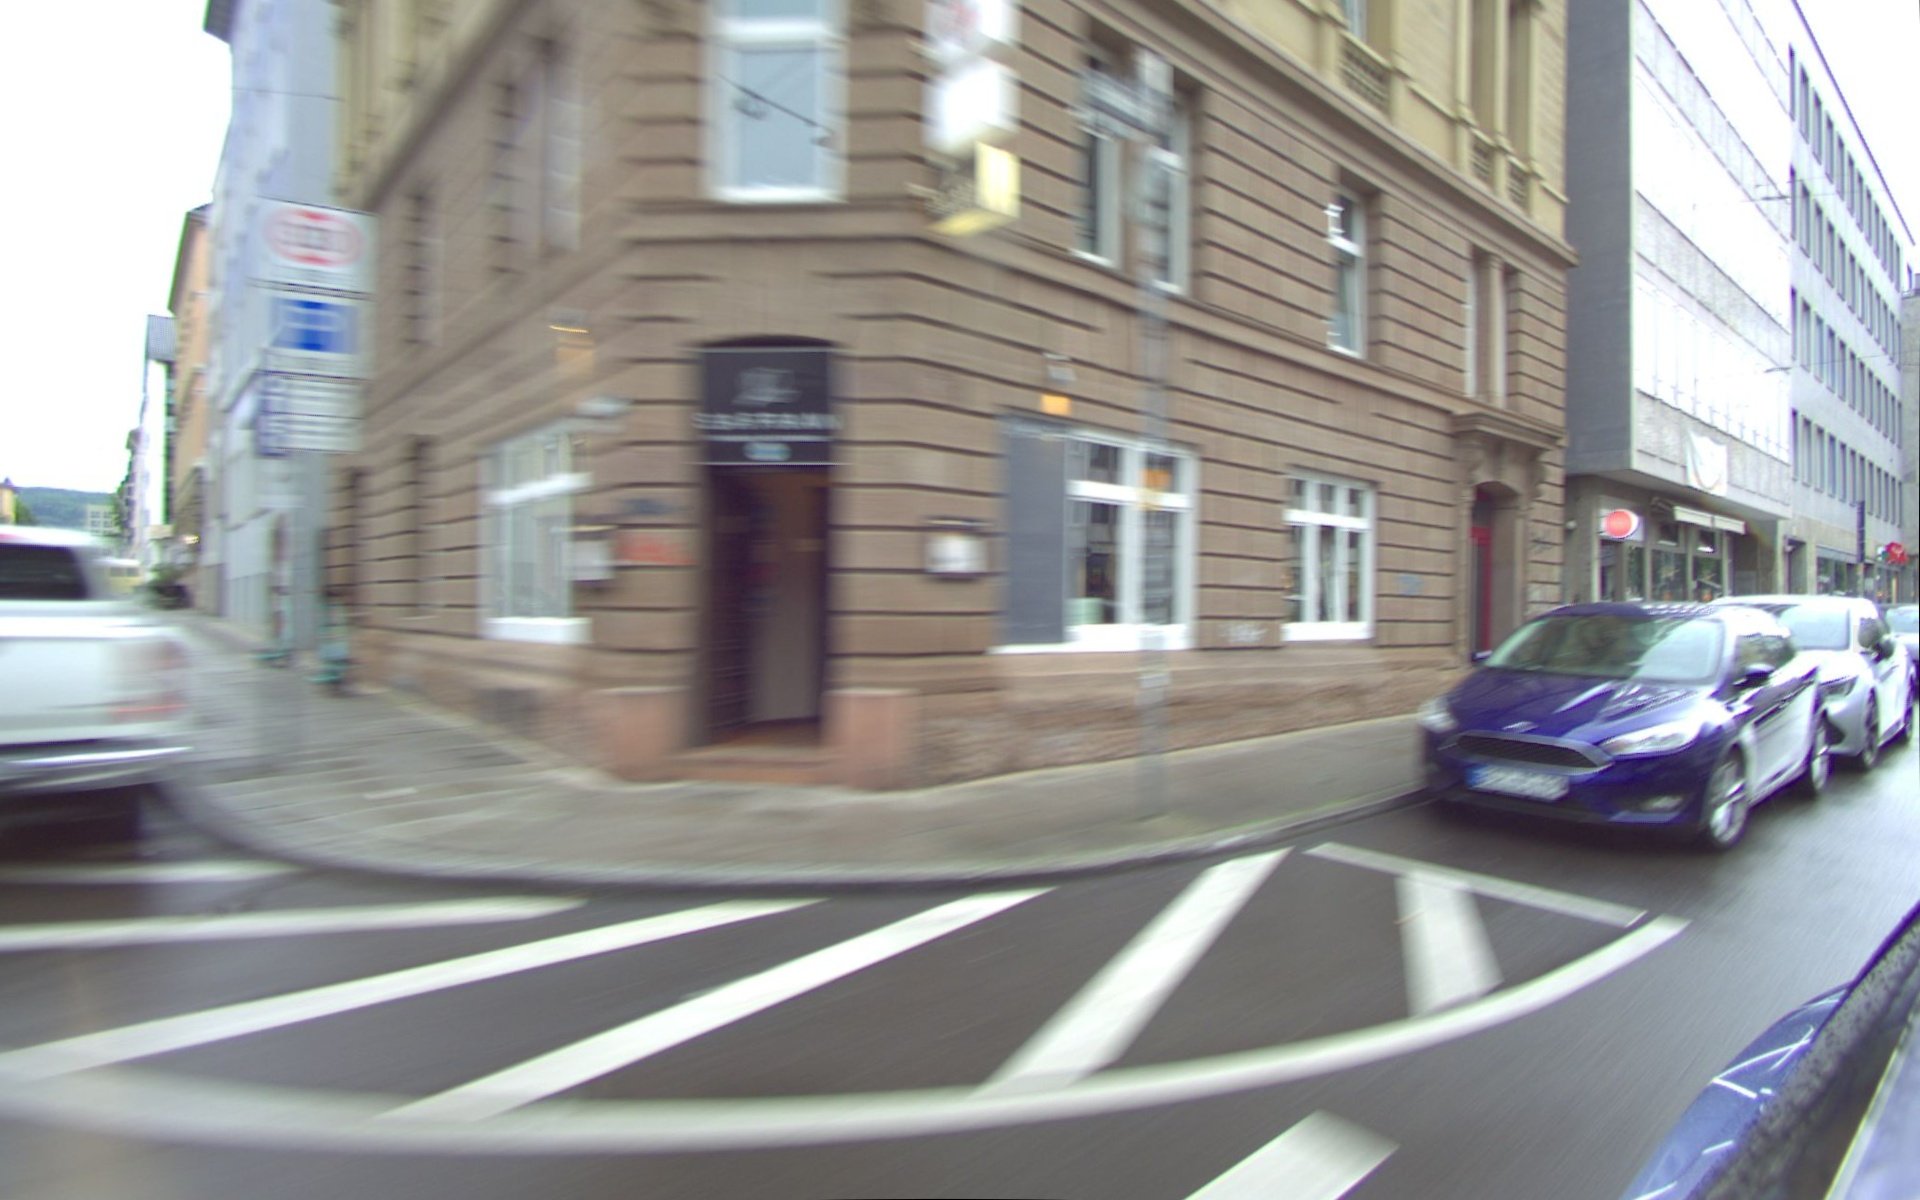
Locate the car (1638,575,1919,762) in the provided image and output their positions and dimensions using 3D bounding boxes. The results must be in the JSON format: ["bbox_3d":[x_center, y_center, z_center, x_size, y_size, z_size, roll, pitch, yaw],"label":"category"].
[{"bbox_3d":[8.665,0.585,10.442,4.279,1.542,1.749,1,-1,-42],"label":"car"}]

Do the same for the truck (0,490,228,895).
[{"bbox_3d":[-6.223,0.383,6.326,2.049,1.841,5.064,1,0,-43],"label":"truck"}]

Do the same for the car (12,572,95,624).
[{"bbox_3d":[-27.434,-0.085,30.645,1.756,1.448,4.422,1,0,-42],"label":"car"}]

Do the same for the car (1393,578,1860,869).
[{"bbox_3d":[5.004,0.670,7.363,4.182,1.535,1.724,1,-1,-40],"label":"car"}]

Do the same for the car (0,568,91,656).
[{"bbox_3d":[-17.145,0.167,18.510,1.756,1.448,4.422,1,0,-42],"label":"car"}]

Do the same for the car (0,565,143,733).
[{"bbox_3d":[-9.752,0.385,10.228,2.059,1.425,4.564,0,0,-42],"label":"car"}]

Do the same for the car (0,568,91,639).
[{"bbox_3d":[-20.543,0.038,22.482,1.756,1.448,4.422,1,0,-42],"label":"car"}]

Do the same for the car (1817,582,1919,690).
[{"bbox_3d":[16.203,0.524,17.059,4.492,1.614,1.997,-1,1,-41],"label":"car"}]
